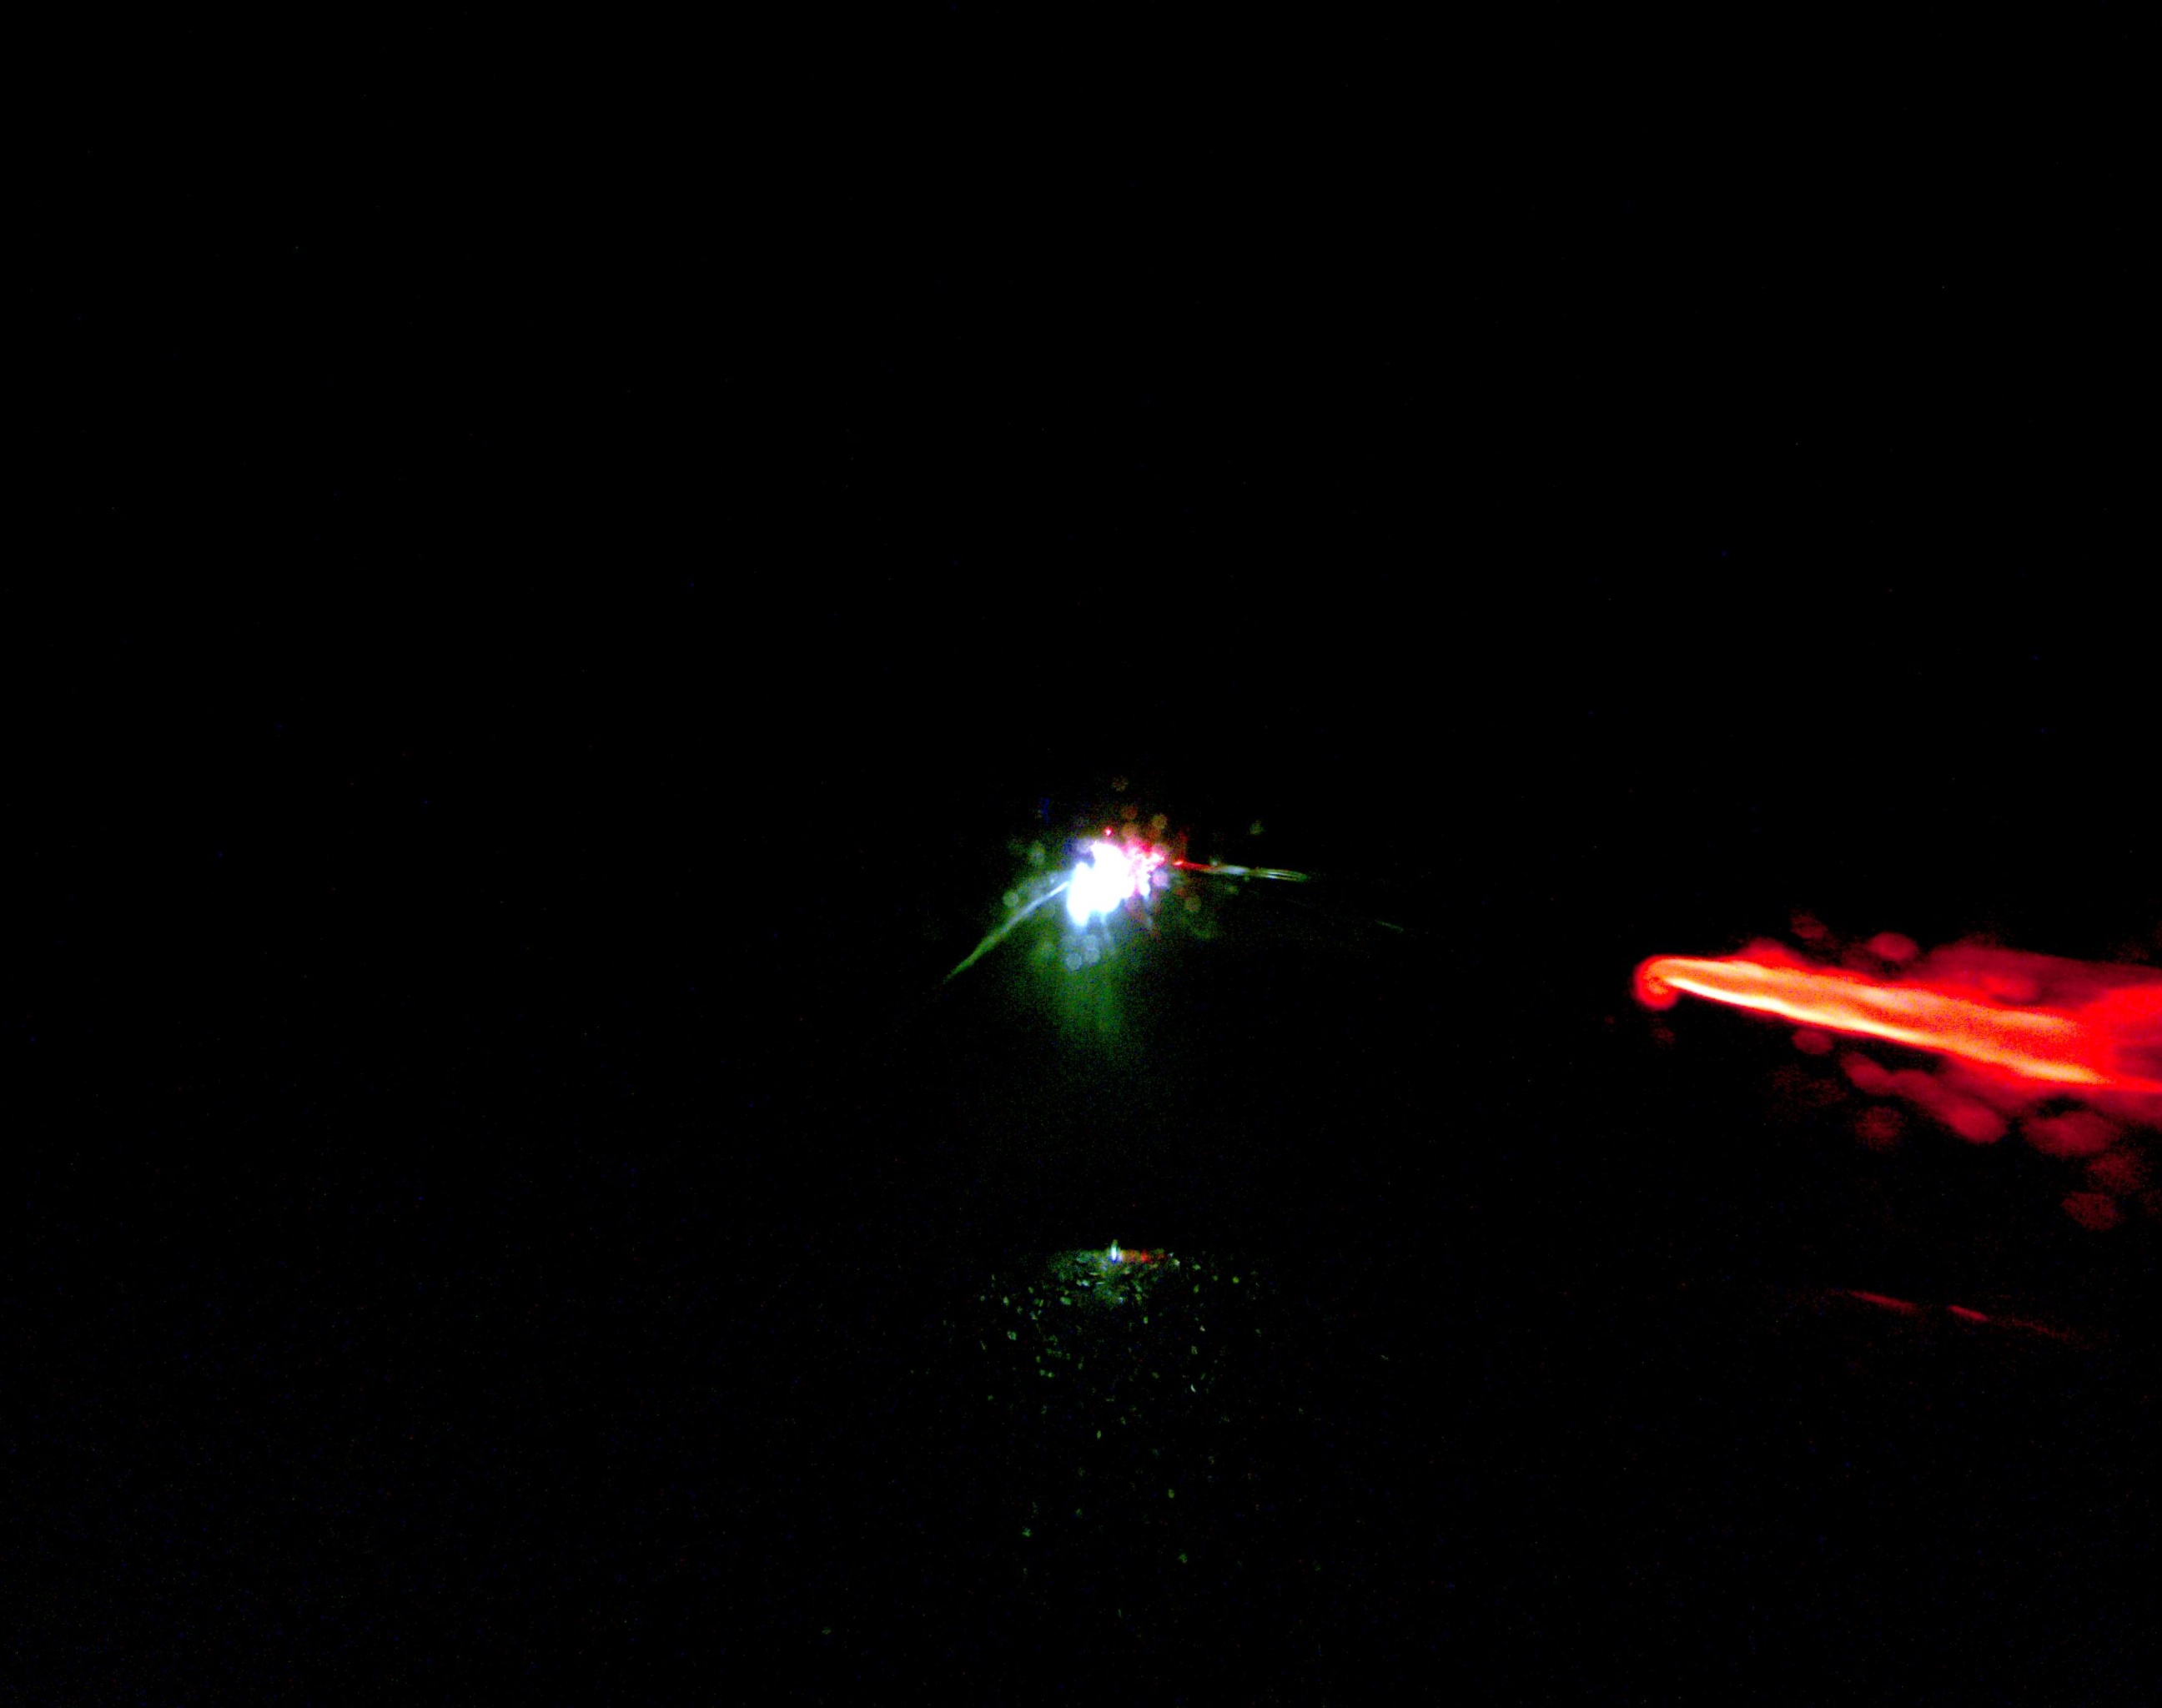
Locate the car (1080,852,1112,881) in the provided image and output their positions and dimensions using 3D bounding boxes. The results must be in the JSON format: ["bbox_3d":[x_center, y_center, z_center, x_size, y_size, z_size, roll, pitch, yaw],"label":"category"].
[{"bbox_3d":[1.057,0.840,52.795,1.998,1.804,4.000,-4,0,2],"label":"car"}]

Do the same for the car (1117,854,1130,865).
[{"bbox_3d":[6.338,0.823,114.550,1.790,1.623,4.426,-2,0,1],"label":"car"}]

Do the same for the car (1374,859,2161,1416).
[{"bbox_3d":[3.523,0.828,4.344,1.998,1.488,4.356,-3,0,1],"label":"car"}]

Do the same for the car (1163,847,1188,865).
[{"bbox_3d":[8.847,0.219,71.163,1.835,1.545,4.441,-3,0,1],"label":"car"}]

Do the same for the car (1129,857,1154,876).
[{"bbox_3d":[5.077,1.016,64.228,1.835,1.545,4.442,-1,0,1],"label":"car"}]

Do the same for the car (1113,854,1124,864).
[{"bbox_3d":[6.198,0.824,126.551,1.790,1.459,3.776,-2,0,2],"label":"car"}]

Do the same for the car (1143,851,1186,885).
[{"bbox_3d":[4.060,0.646,37.363,1.720,1.545,4.000,-2,0,2],"label":"car"}]
